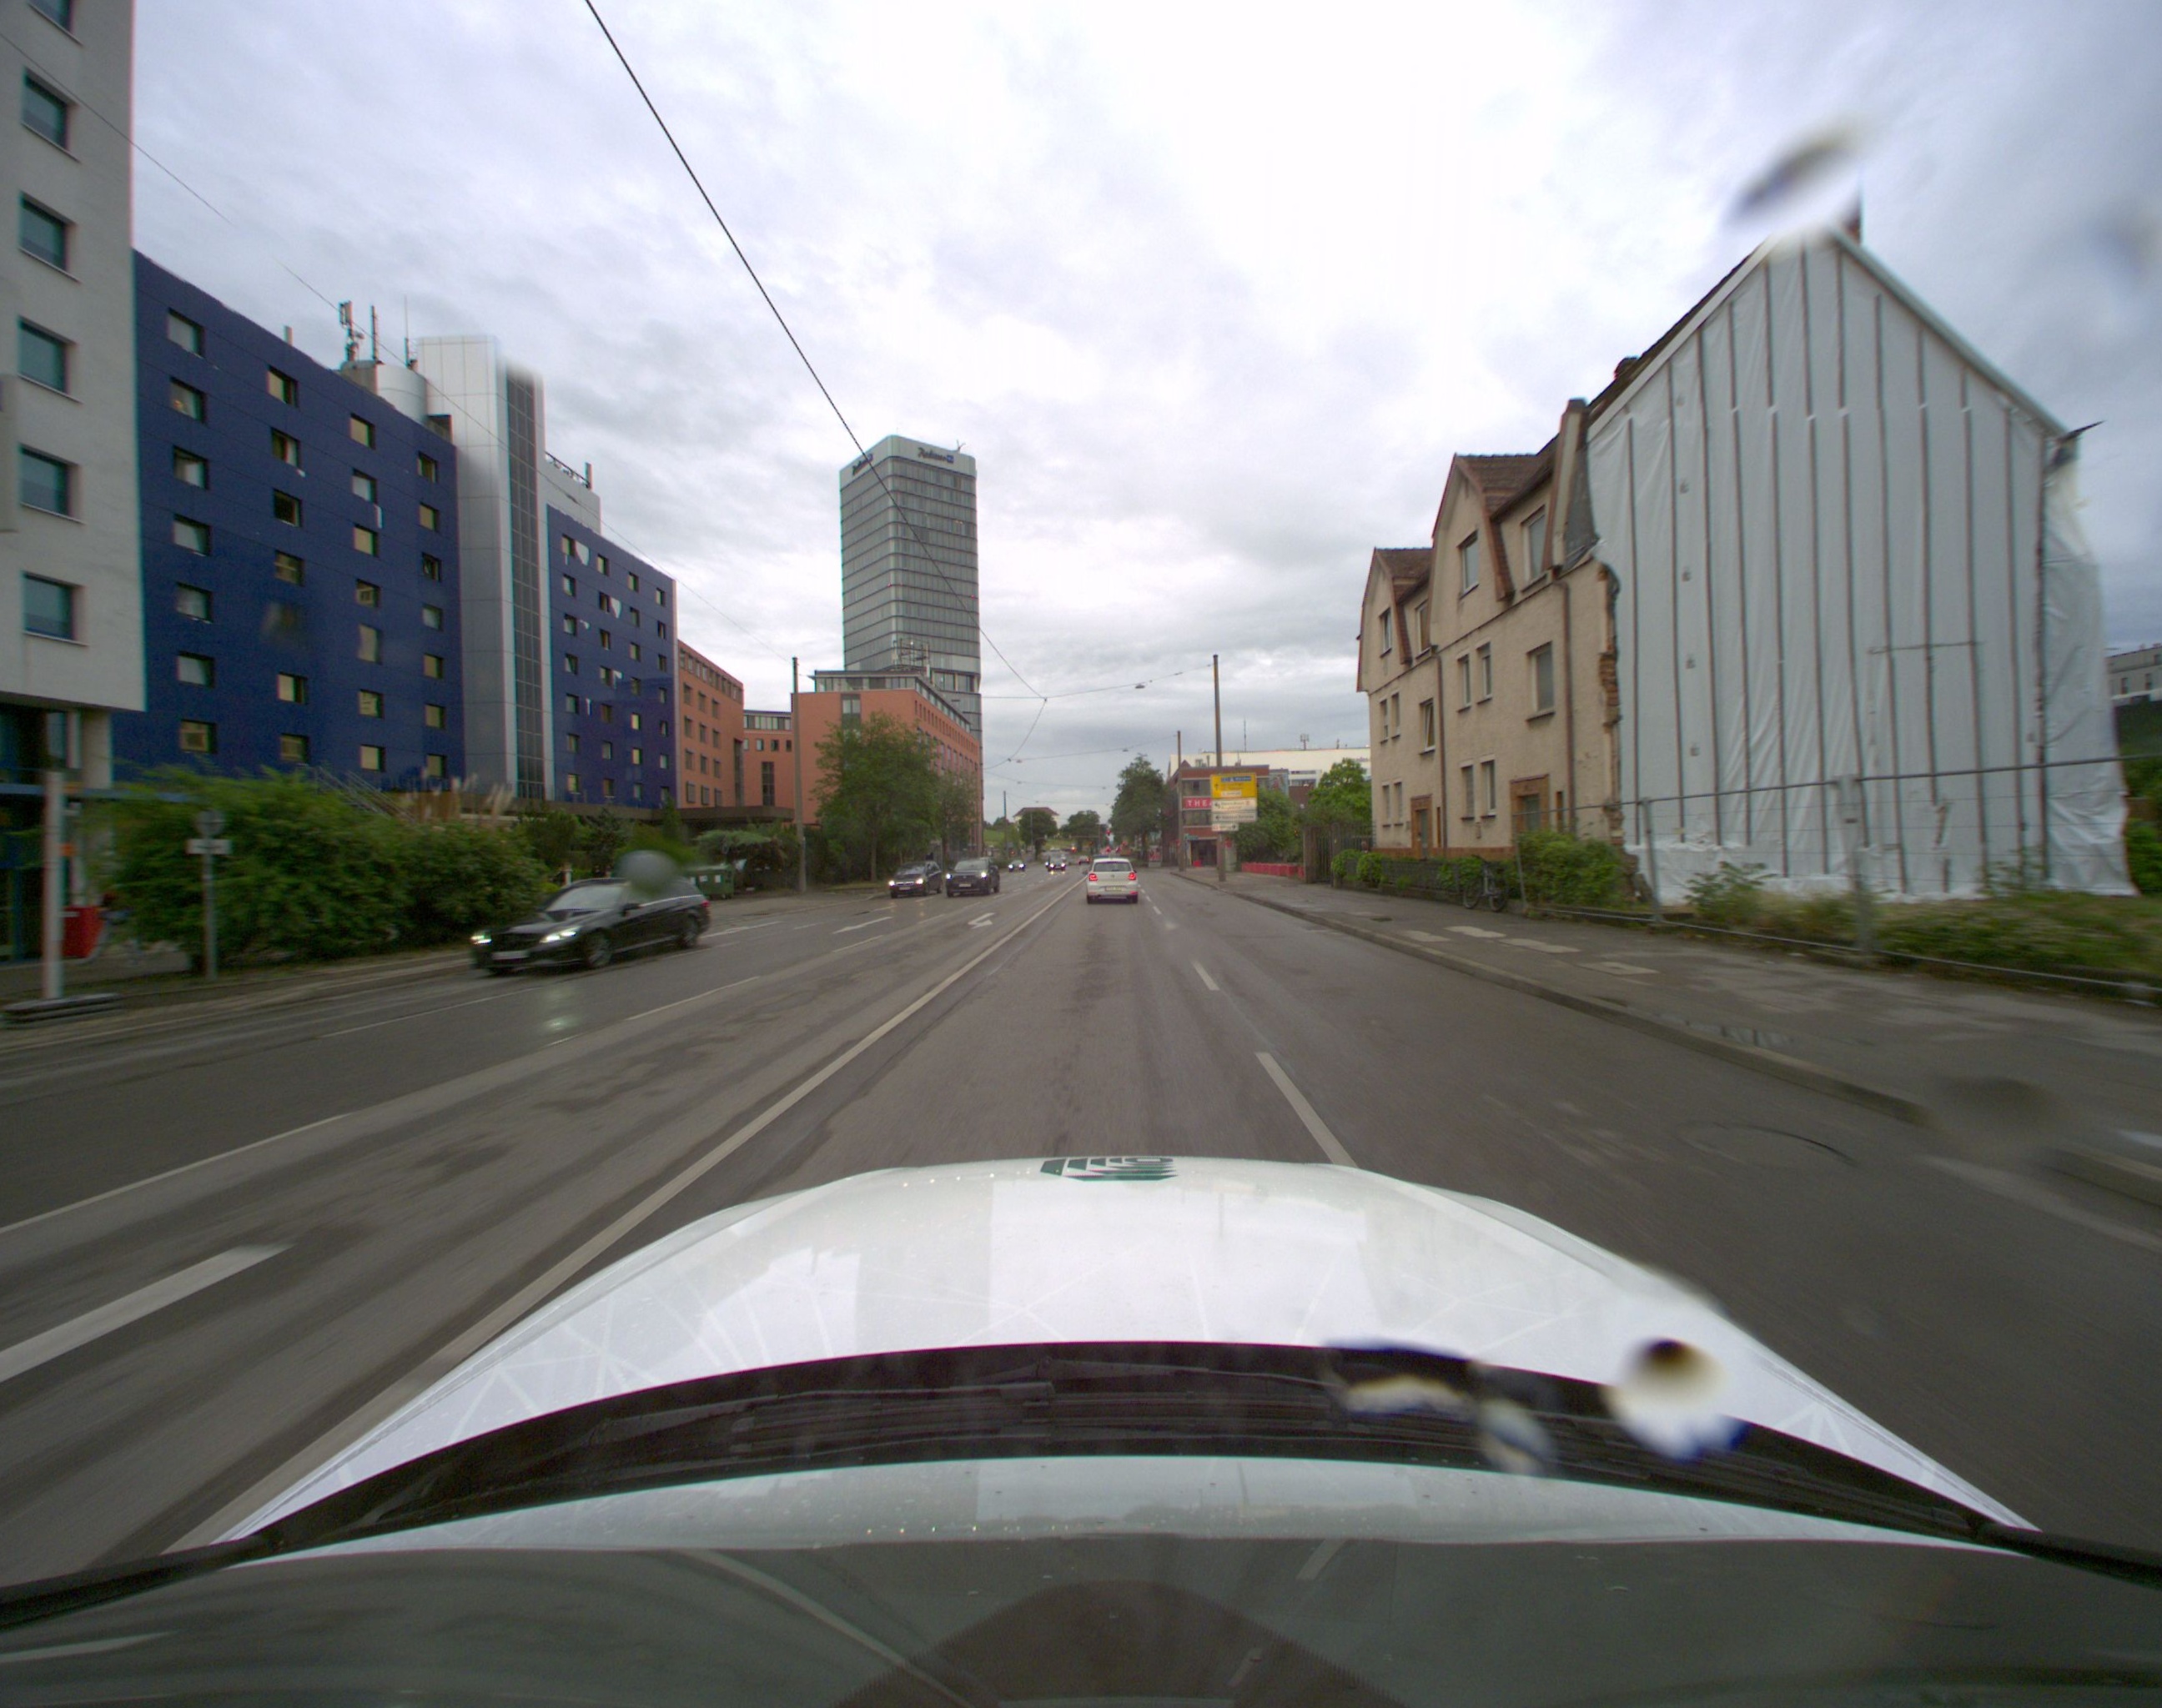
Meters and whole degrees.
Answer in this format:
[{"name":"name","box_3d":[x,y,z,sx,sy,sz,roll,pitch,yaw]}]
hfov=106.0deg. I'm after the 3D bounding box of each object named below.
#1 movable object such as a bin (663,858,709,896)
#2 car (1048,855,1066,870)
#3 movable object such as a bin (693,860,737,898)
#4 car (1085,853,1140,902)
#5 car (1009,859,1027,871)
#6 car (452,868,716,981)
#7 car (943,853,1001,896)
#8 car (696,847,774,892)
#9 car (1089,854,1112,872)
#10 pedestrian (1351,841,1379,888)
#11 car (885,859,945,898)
[{"name":"movable object such as a bin","box_3d":[-16.715,0.979,34.503,1.380,1.491,0.955,-4,-2,13]},{"name":"car","box_3d":[-2.602,0.923,89.517,1.653,1.486,3.822,-2,0,2]},{"name":"movable object such as a bin","box_3d":[-15.211,1.048,33.850,1.389,1.491,0.949,-4,-2,-8]},{"name":"car","box_3d":[0.986,0.741,27.469,1.666,1.474,3.778,-1,0,0]},{"name":"car","box_3d":[-7.796,1.352,101.312,1.614,1.323,4.450,-3,0,3]},{"name":"car","box_3d":[-8.734,1.132,14.924,1.726,1.476,4.702,-3,1,2]},{"name":"car","box_3d":[-4.796,0.856,36.445,1.750,1.555,4.452,-4,1,2]},{"name":"car","box_3d":[-17.286,0.791,40.950,1.829,2.014,4.317,-4,-2,2]},{"name":"car","box_3d":[1.853,0.790,74.567,1.986,1.574,4.002,-2,0,2]},{"name":"pedestrian","box_3d":[10.674,0.388,30.643,0.904,1.764,0.770,0,0,14]},{"name":"car","box_3d":[-7.777,1.094,38.501,1.701,1.566,4.037,-4,1,2]}]
